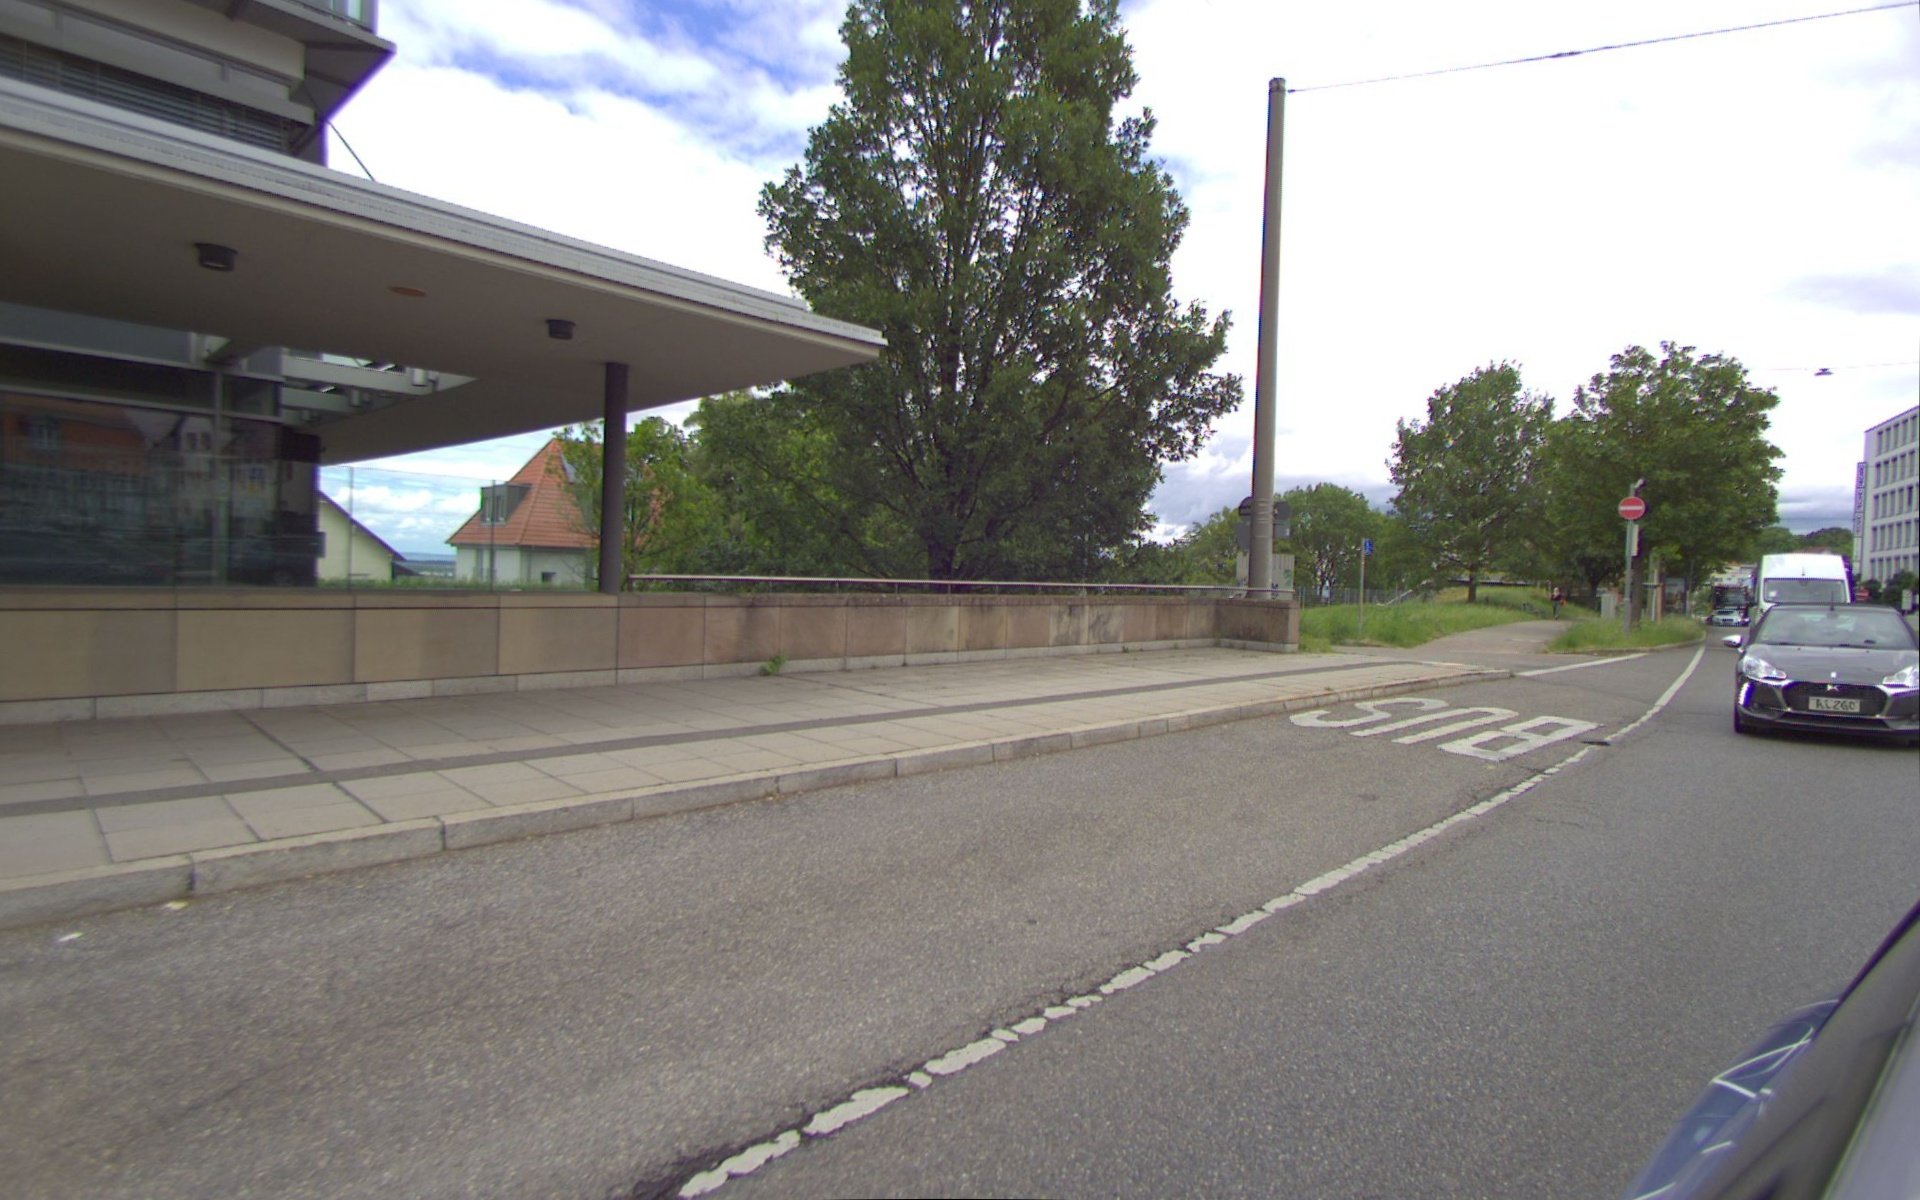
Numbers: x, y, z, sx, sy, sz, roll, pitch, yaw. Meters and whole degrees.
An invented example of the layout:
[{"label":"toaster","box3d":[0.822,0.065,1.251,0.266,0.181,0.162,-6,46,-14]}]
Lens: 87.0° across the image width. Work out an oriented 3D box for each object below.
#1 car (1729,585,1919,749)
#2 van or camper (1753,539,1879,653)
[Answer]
[{"label":"car","box3d":[10.276,0.643,11.849,1.854,1.543,3.949,3,3,36]},{"label":"van or camper","box3d":[23.622,-0.184,28.191,2.270,2.739,6.899,3,3,38]}]
